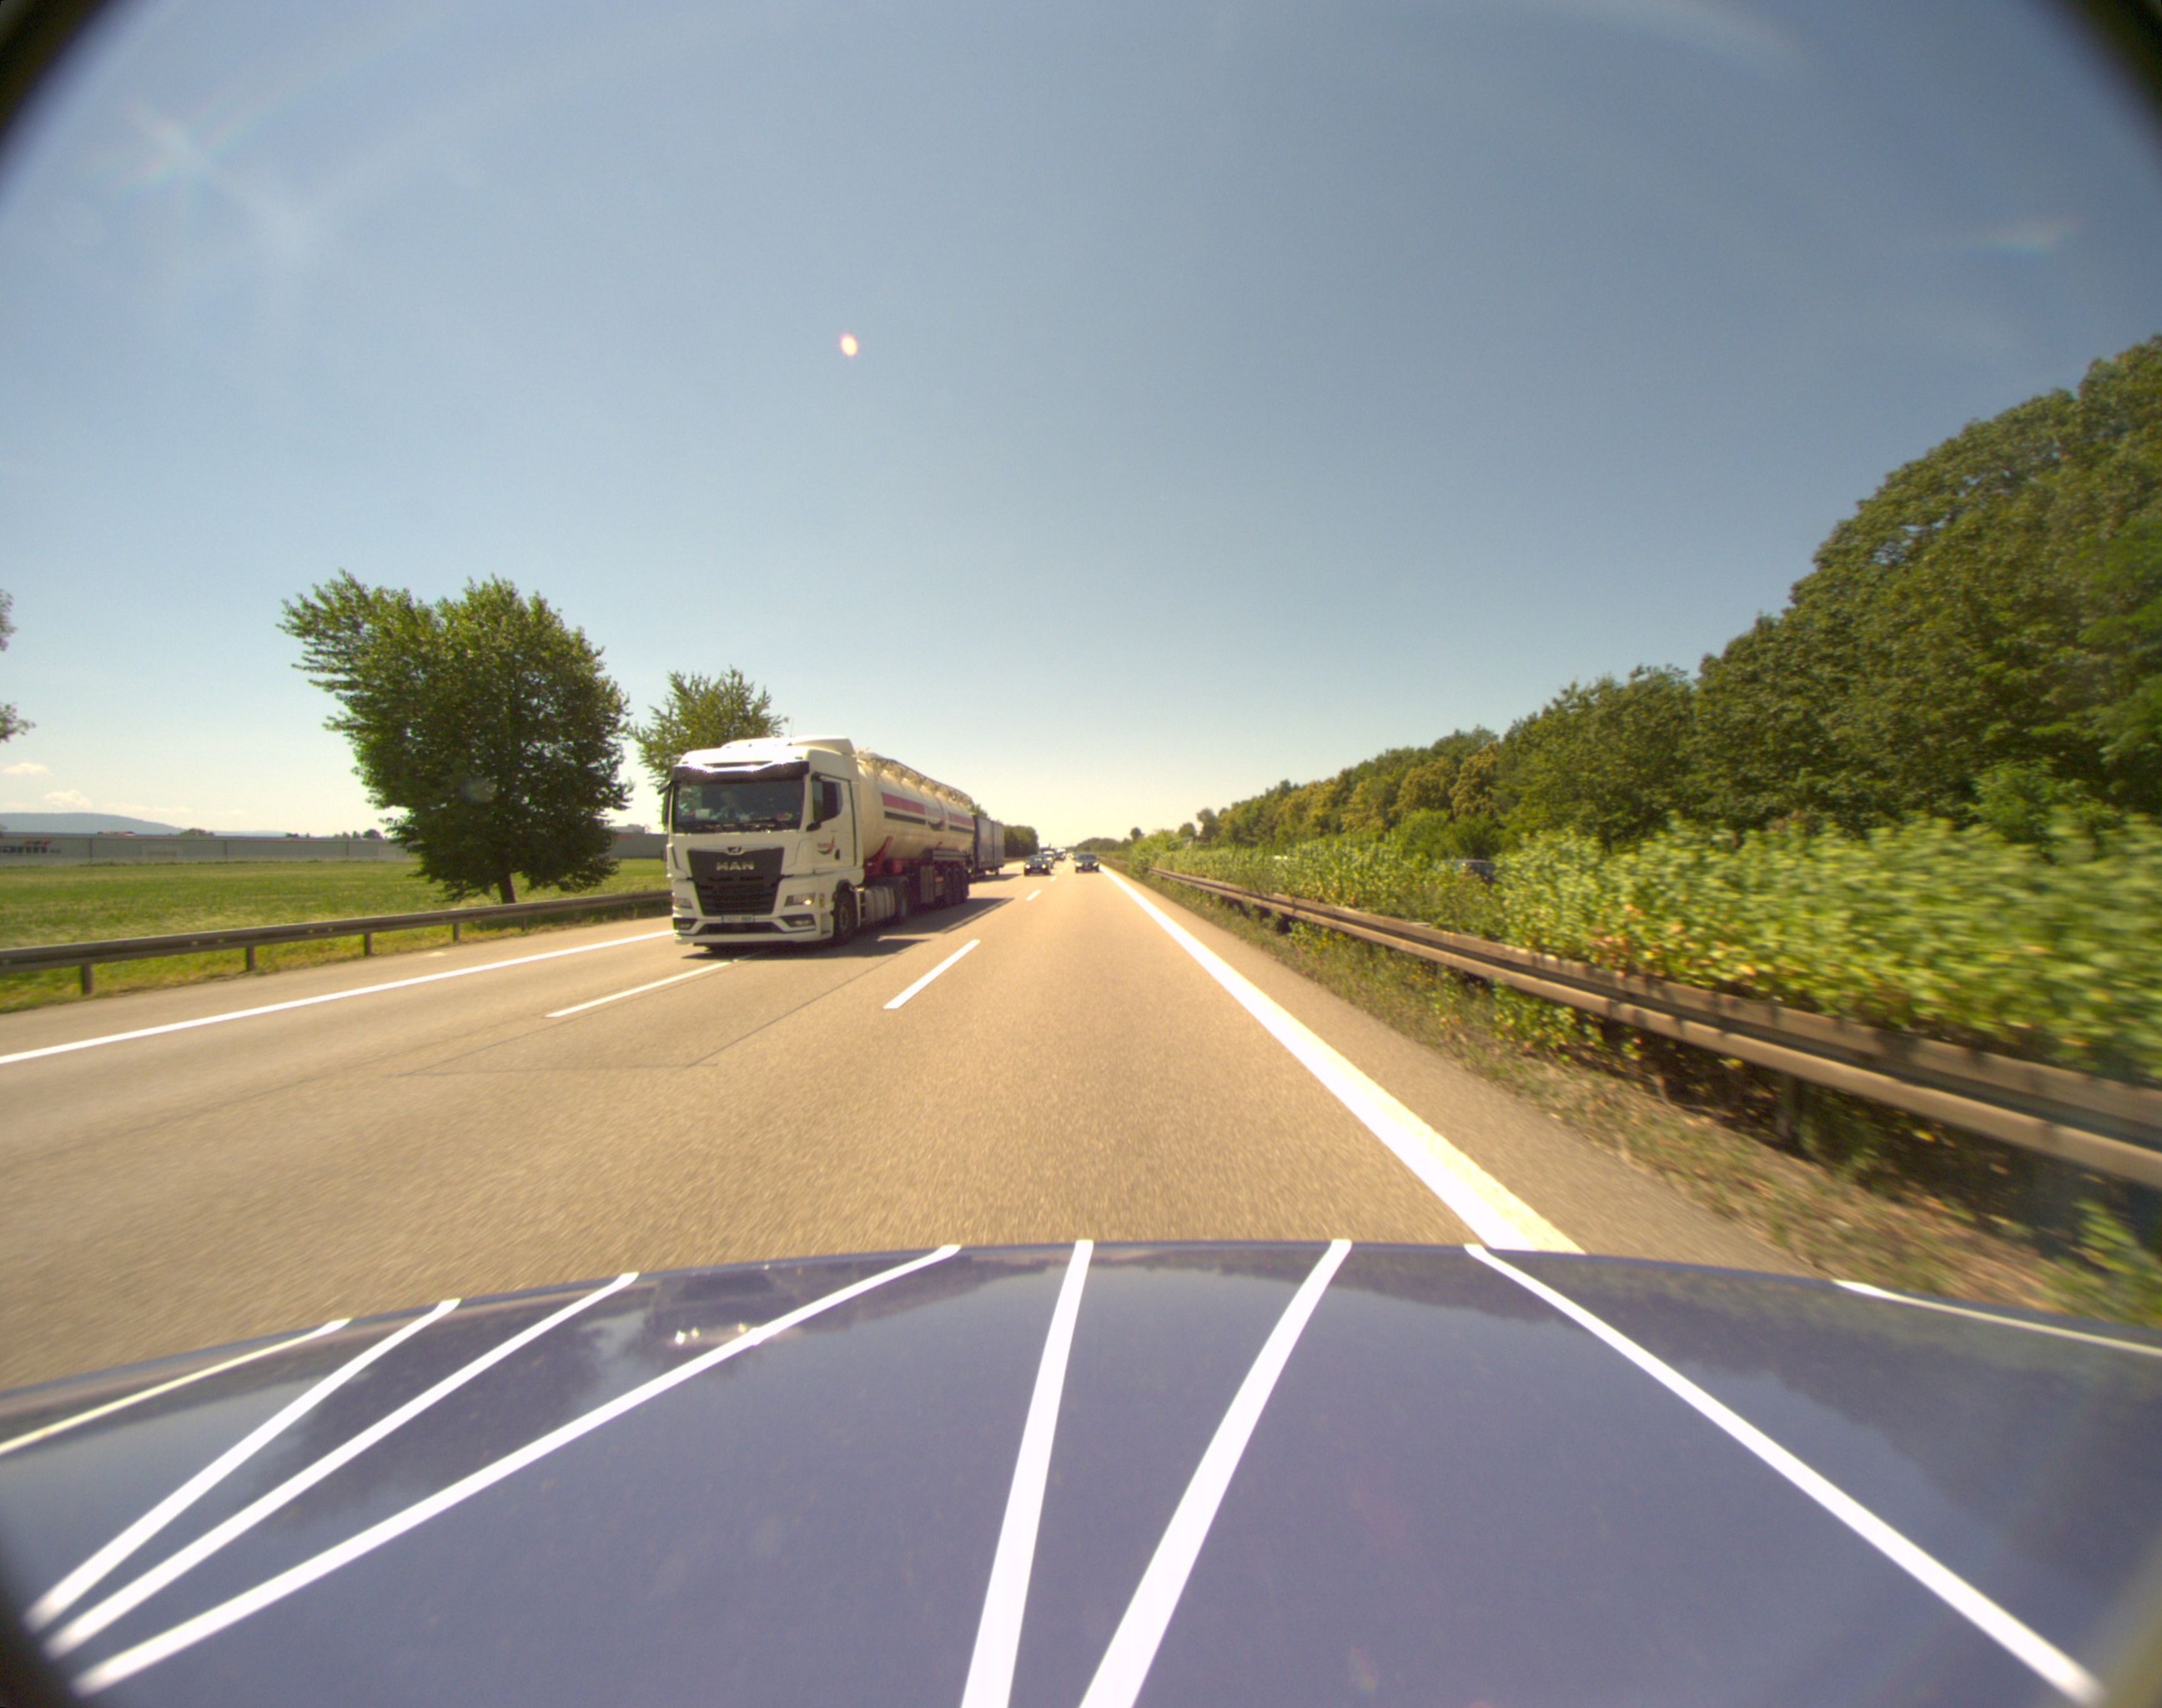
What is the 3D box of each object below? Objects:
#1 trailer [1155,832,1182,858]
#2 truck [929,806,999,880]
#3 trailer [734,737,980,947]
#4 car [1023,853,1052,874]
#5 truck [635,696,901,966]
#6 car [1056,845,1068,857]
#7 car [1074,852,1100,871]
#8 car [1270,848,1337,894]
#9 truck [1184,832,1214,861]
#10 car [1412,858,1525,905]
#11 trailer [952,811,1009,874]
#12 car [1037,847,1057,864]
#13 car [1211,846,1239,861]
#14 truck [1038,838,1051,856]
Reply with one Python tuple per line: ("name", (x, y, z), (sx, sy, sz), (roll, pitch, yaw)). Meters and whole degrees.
("trailer", (14.086, -1.424, 123.621), (2.877, 3.986, 13.516), (-1, 0, 0))
("truck", (-7.208, -0.657, 48.411), (2.797, 4.180, 10.805), (-1, 1, 0))
("trailer", (-5.319, -0.282, 21.423), (2.797, 4.180, 12.353), (-1, 0, 2))
("car", (-3.072, 0.636, 54.590), (1.841, 1.409, 4.496), (-1, 0, -1))
("truck", (-5.497, -0.372, 14.398), (2.797, 4.180, 5.000), (-1, 1, 1))
("car", (-3.352, -0.489, 134.349), (1.998, 2.002, 3.999), (-1, 1, 0))
("car", (0.421, 0.553, 58.771), (1.887, 1.341, 4.466), (-1, 0, -1))
("car", (10.332, 0.723, 35.649), (1.998, 2.002, 4.000), (-1, 1, 1))
("truck", (17.864, -1.126, 115.376), (3.021, 4.090, 9.999), (-1, 1, 0))
("car", (13.551, 0.912, 26.875), (1.799, 1.446, 4.306), (-1, 0, 0))
("trailer", (-7.261, -0.781, 56.424), (2.797, 4.180, 10.805), (-1, 1, 0))
("car", (-3.427, 0.164, 77.375), (1.887, 1.634, 3.999), (-1, 1, -1))
("car", (13.249, -0.051, 70.132), (1.799, 1.330, 3.999), (-1, 1, 0))
("truck", (-9.055, -1.733, 190.063), (2.797, 4.180, 10.804), (-1, 1, -1))
